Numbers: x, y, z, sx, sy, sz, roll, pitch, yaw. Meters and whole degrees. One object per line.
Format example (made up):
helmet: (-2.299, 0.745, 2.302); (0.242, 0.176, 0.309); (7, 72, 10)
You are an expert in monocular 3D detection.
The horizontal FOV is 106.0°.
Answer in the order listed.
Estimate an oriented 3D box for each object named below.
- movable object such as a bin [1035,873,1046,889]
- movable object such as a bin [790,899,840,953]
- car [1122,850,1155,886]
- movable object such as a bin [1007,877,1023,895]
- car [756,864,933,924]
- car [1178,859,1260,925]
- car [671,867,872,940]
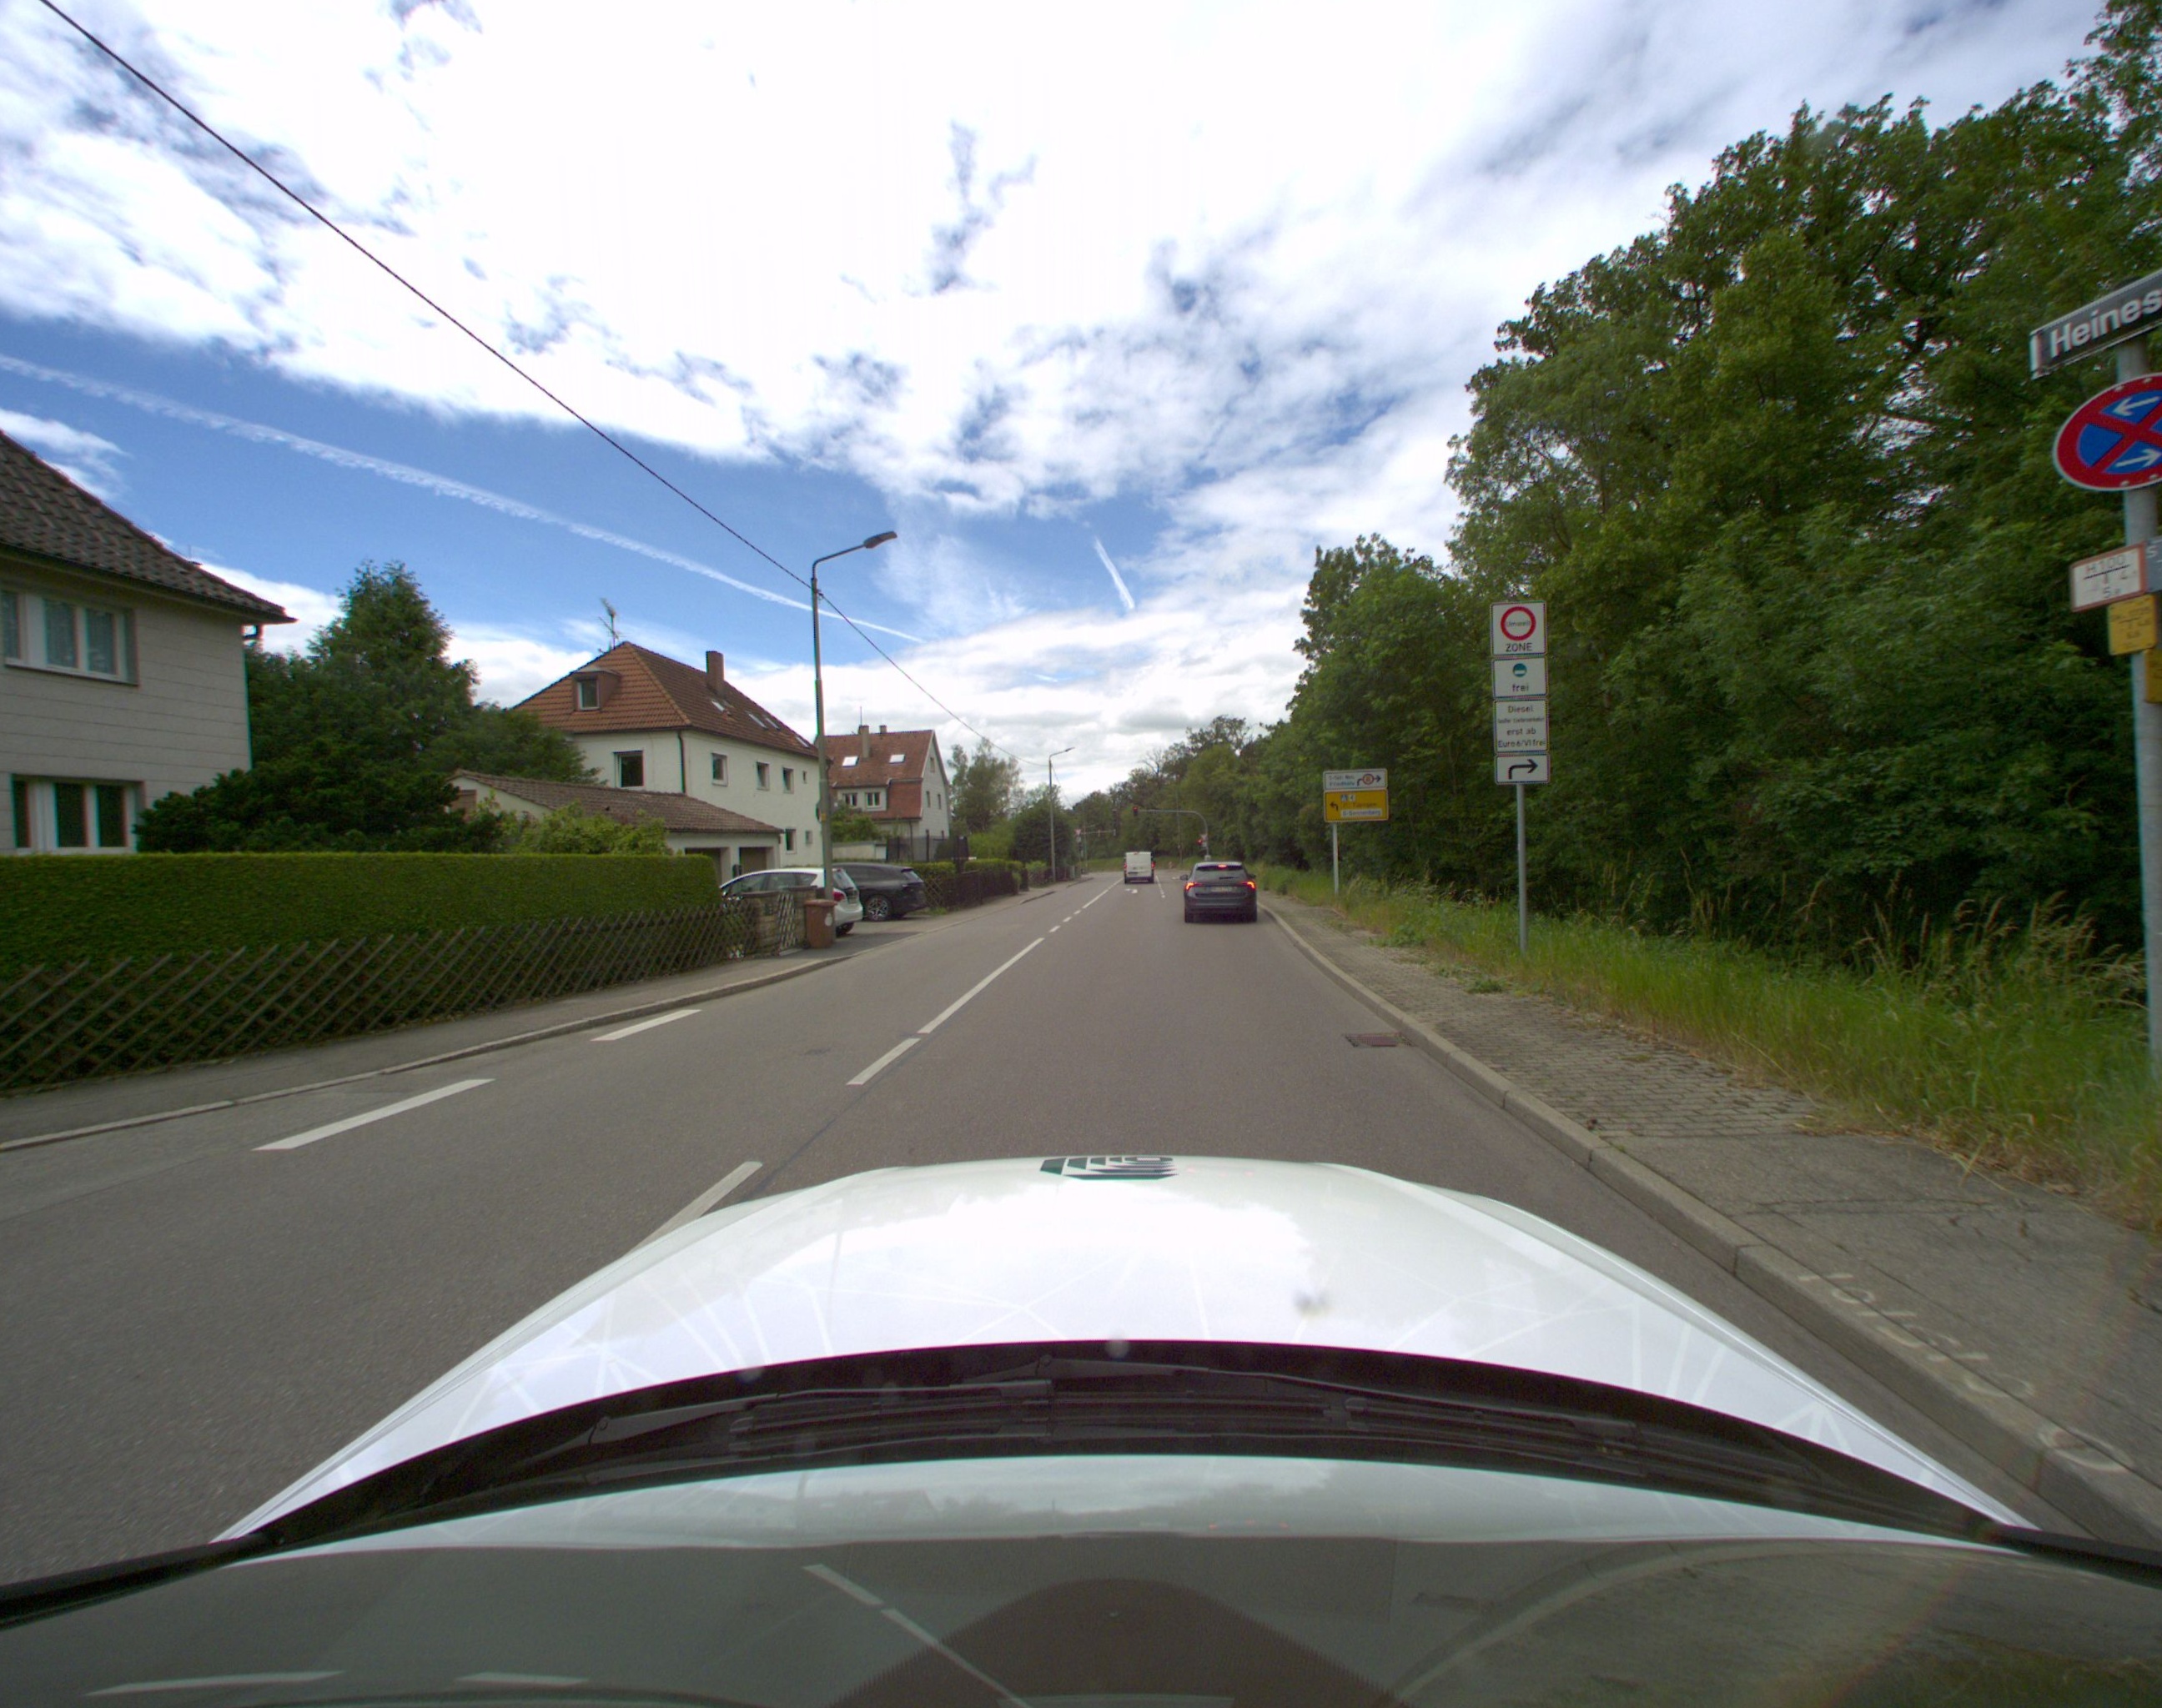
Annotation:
movable object such as a bin: (-2.500, 1.676, 50.238); (0.547, 0.938, 0.538); (-3, -1, 6)
movable object such as a bin: (-5.122, 1.381, 15.699); (0.683, 0.954, 0.573); (-3, -1, 10)
car: (3.622, 0.871, 51.801); (1.909, 2.053, 4.617); (-3, -1, 2)
movable object such as a bin: (-3.290, 1.606, 40.872); (0.628, 0.913, 0.563); (0, 0, 17)
car: (-6.939, 1.157, 24.207); (4.650, 1.669, 1.884); (0, -1, 3)
car: (3.484, 0.886, 20.653); (1.782, 1.450, 4.010); (-3, -1, 9)
car: (-7.095, 1.115, 18.895); (3.970, 1.594, 1.720); (0, -1, 3)
